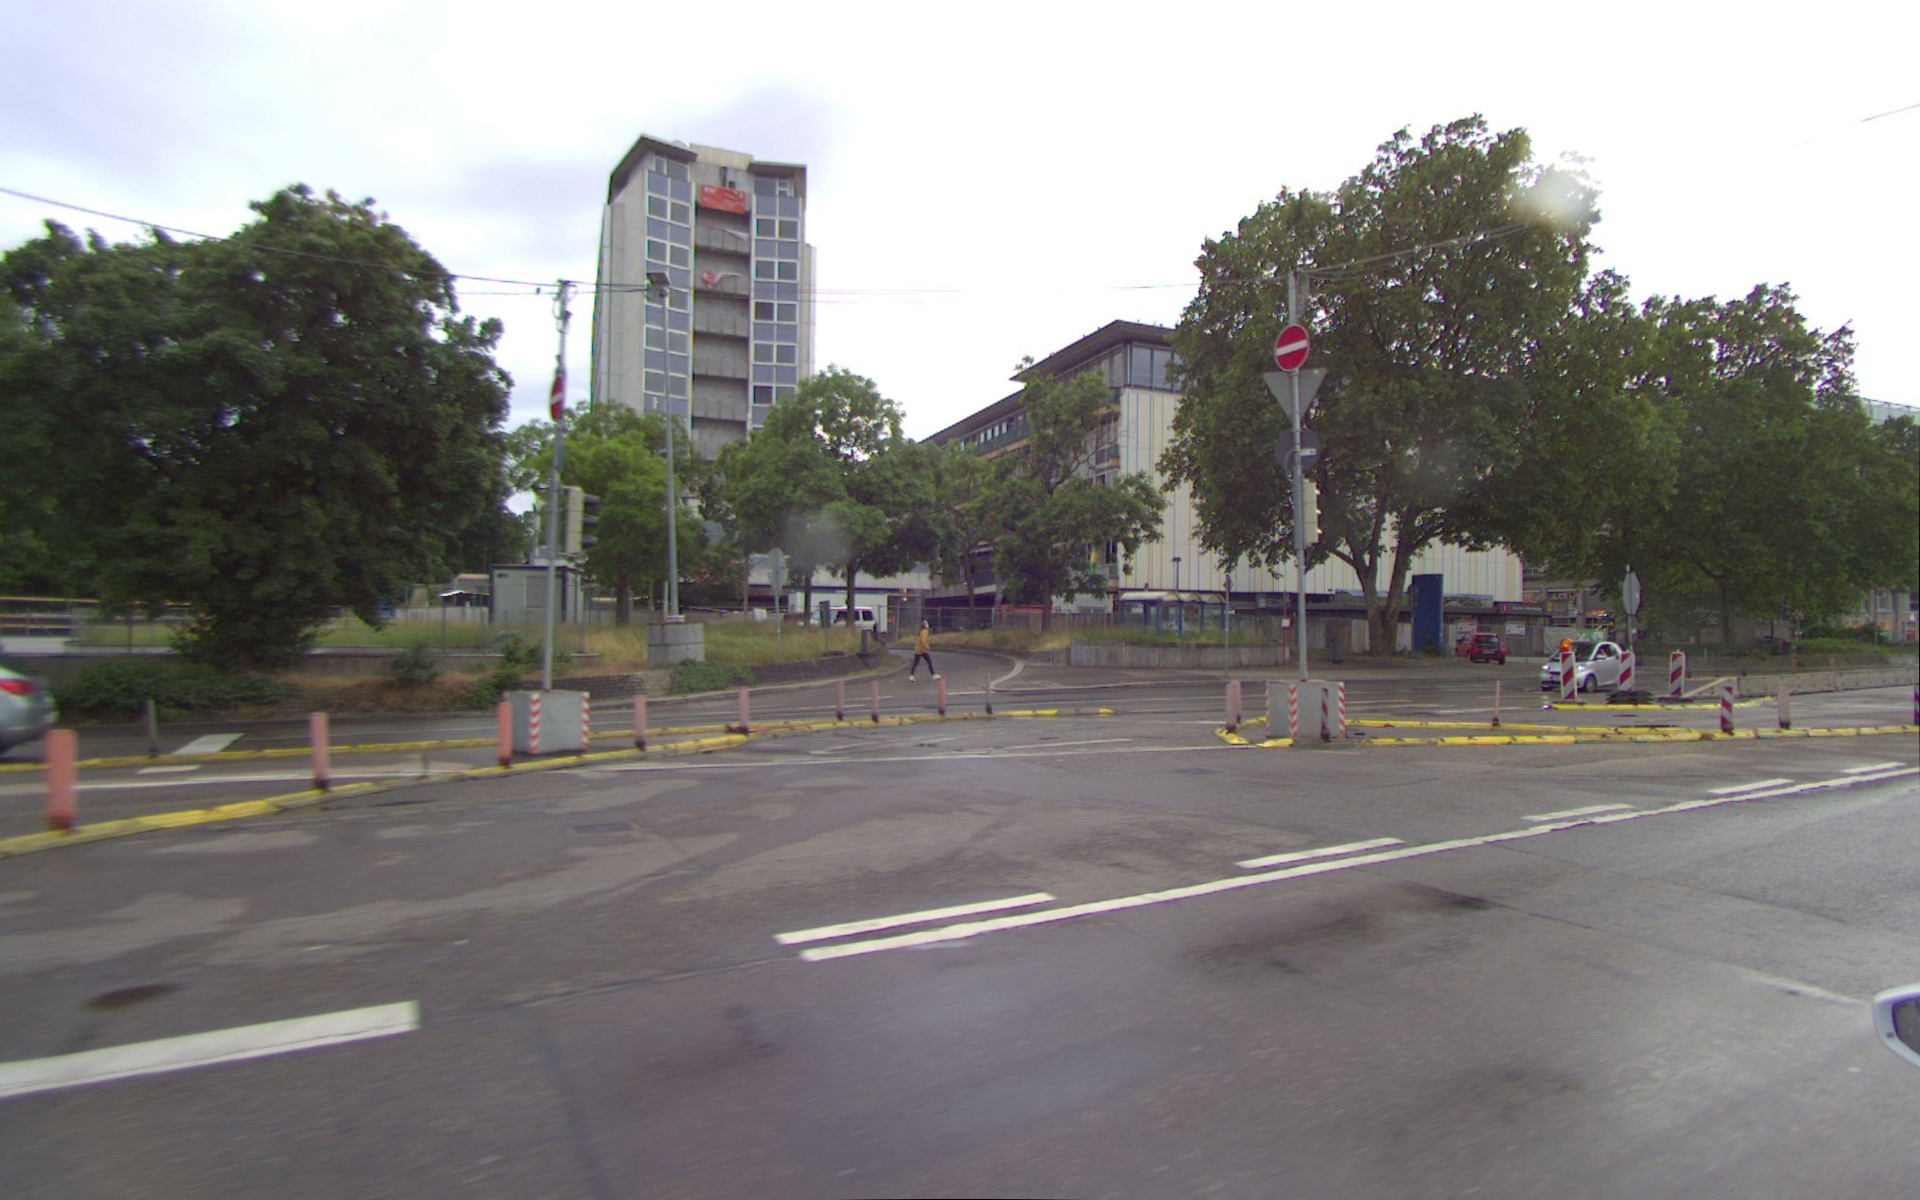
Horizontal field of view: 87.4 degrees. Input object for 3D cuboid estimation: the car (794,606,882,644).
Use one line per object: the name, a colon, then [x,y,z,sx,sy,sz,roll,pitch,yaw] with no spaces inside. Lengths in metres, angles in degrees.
car: [-5.876,1.257,48.789,1.880,1.547,3.988,-1,-6,40]

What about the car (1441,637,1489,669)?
car: [27.531,2.926,54.824,1.871,1.547,4.007,1,-5,20]

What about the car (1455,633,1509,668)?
car: [25.885,2.533,49.910,1.871,1.547,4.007,1,-5,20]

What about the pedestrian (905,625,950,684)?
pedestrian: [-0.898,1.508,27.713,1.094,1.577,0.588,3,-4,-12]

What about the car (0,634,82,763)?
car: [-12.824,1.119,11.354,4.137,1.482,1.754,3,-5,-36]

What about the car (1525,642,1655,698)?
car: [19.931,2.225,31.760,4.132,1.547,1.892,5,-5,-32]
